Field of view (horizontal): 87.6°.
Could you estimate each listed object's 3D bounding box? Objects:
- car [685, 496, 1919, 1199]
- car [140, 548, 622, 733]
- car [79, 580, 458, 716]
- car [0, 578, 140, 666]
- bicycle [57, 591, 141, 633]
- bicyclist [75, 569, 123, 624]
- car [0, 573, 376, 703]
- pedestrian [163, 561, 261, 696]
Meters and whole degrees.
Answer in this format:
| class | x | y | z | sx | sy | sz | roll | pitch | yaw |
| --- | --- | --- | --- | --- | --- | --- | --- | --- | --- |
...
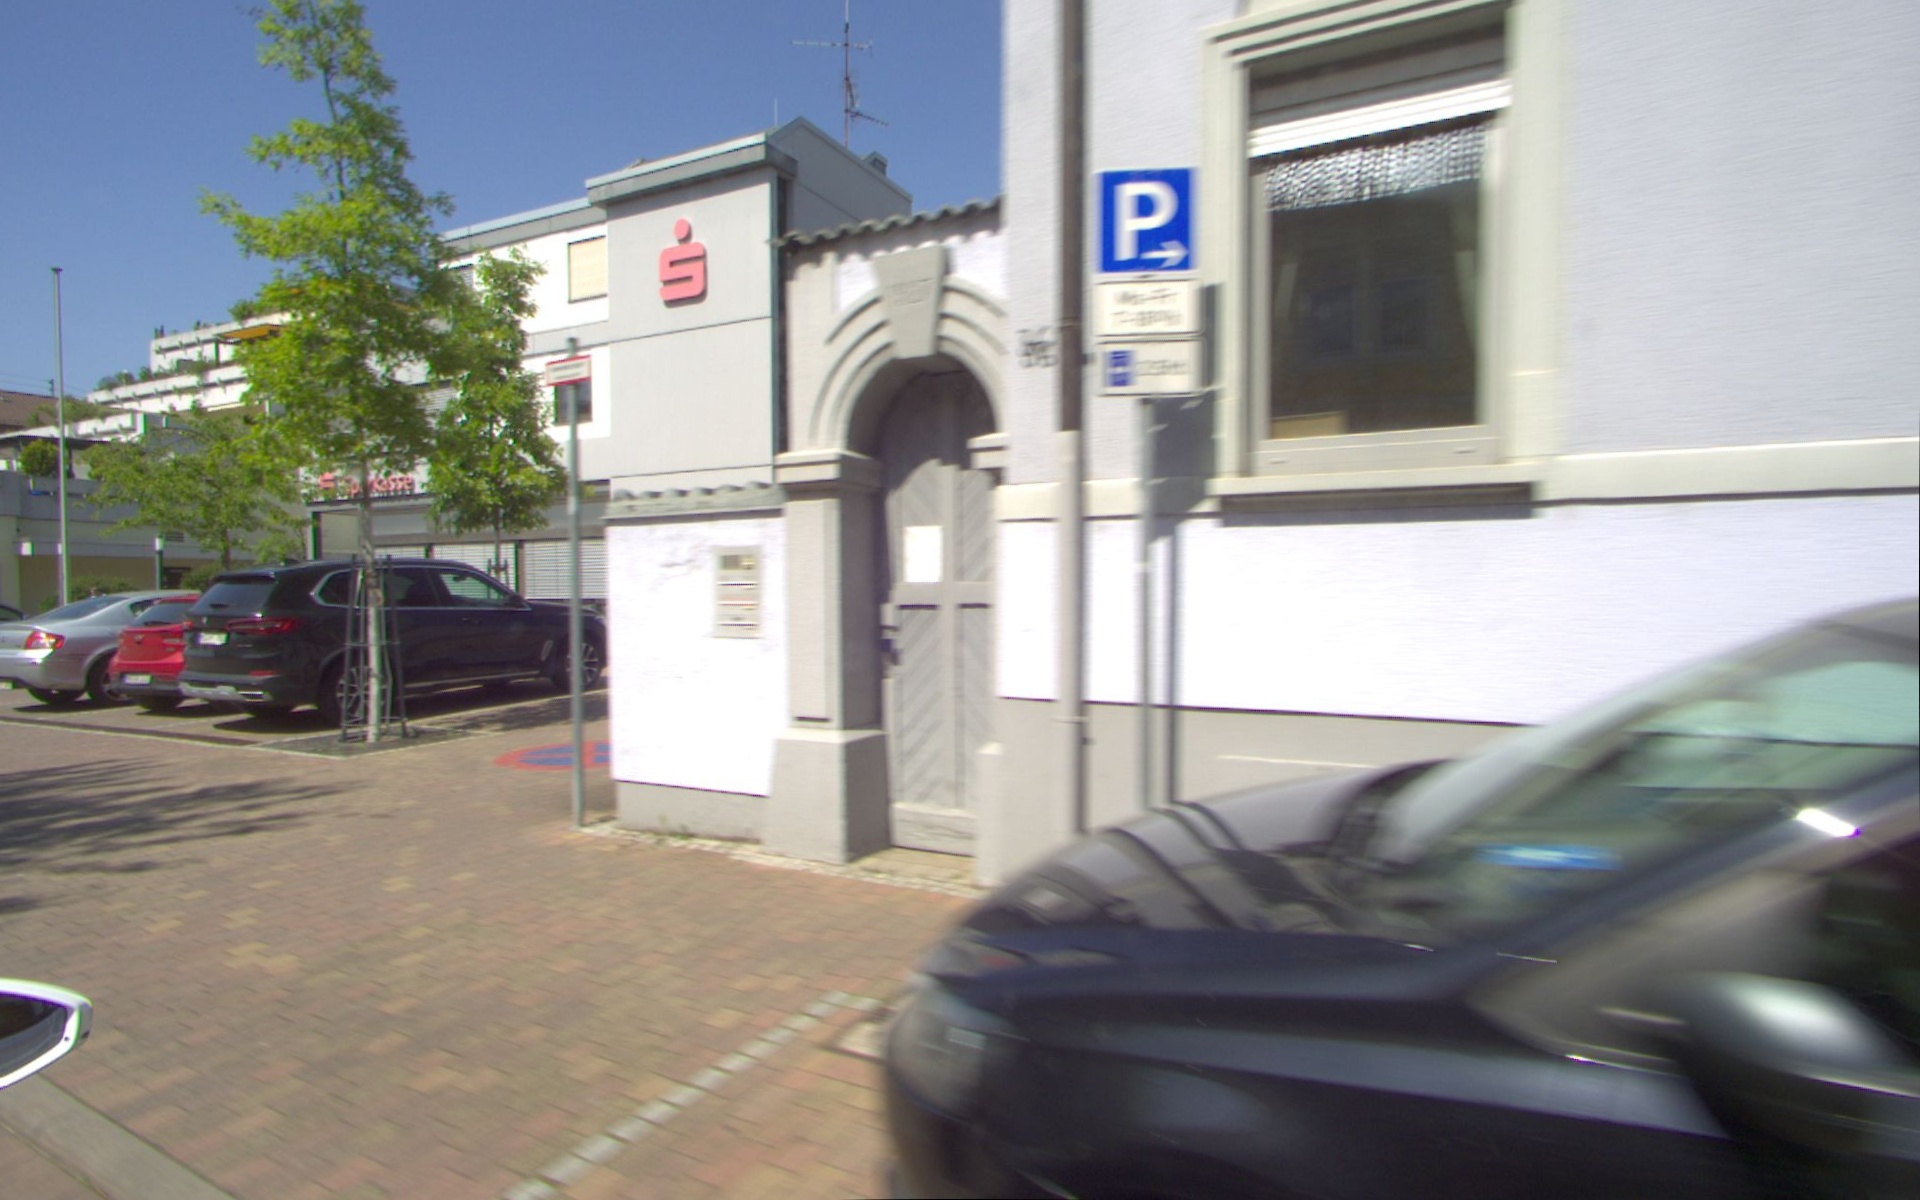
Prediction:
| class | x | y | z | sx | sy | sz | roll | pitch | yaw |
| --- | --- | --- | --- | --- | --- | --- | --- | --- | --- |
| car | 1.644 | 0.612 | 1.520 | 3.862 | 1.502 | 1.700 | 0 | 3 | 29 |
| car | -6.686 | 0.287 | 12.207 | 2.115 | 1.796 | 4.622 | 1 | 3 | 29 |
| car | -8.843 | 0.504 | 13.187 | 1.716 | 1.472 | 3.728 | 0 | 2 | 24 |
| car | -18.151 | 0.427 | 18.234 | 1.885 | 1.533 | 4.574 | 0 | 2 | 24 |
| bicycle | -24.652 | 0.330 | 28.717 | 0.663 | 1.124 | 1.894 | 0 | 2 | 4 |
| bicyclist | -24.657 | -0.098 | 28.685 | 0.658 | 1.548 | 0.761 | 0 | 3 | 4 |
| car | -11.058 | 0.391 | 14.244 | 1.809 | 1.461 | 4.534 | 0 | 3 | 24 |
| pedestrian | -10.009 | 0.358 | 13.410 | 0.687 | 1.741 | 0.748 | 0 | 3 | 23 |
